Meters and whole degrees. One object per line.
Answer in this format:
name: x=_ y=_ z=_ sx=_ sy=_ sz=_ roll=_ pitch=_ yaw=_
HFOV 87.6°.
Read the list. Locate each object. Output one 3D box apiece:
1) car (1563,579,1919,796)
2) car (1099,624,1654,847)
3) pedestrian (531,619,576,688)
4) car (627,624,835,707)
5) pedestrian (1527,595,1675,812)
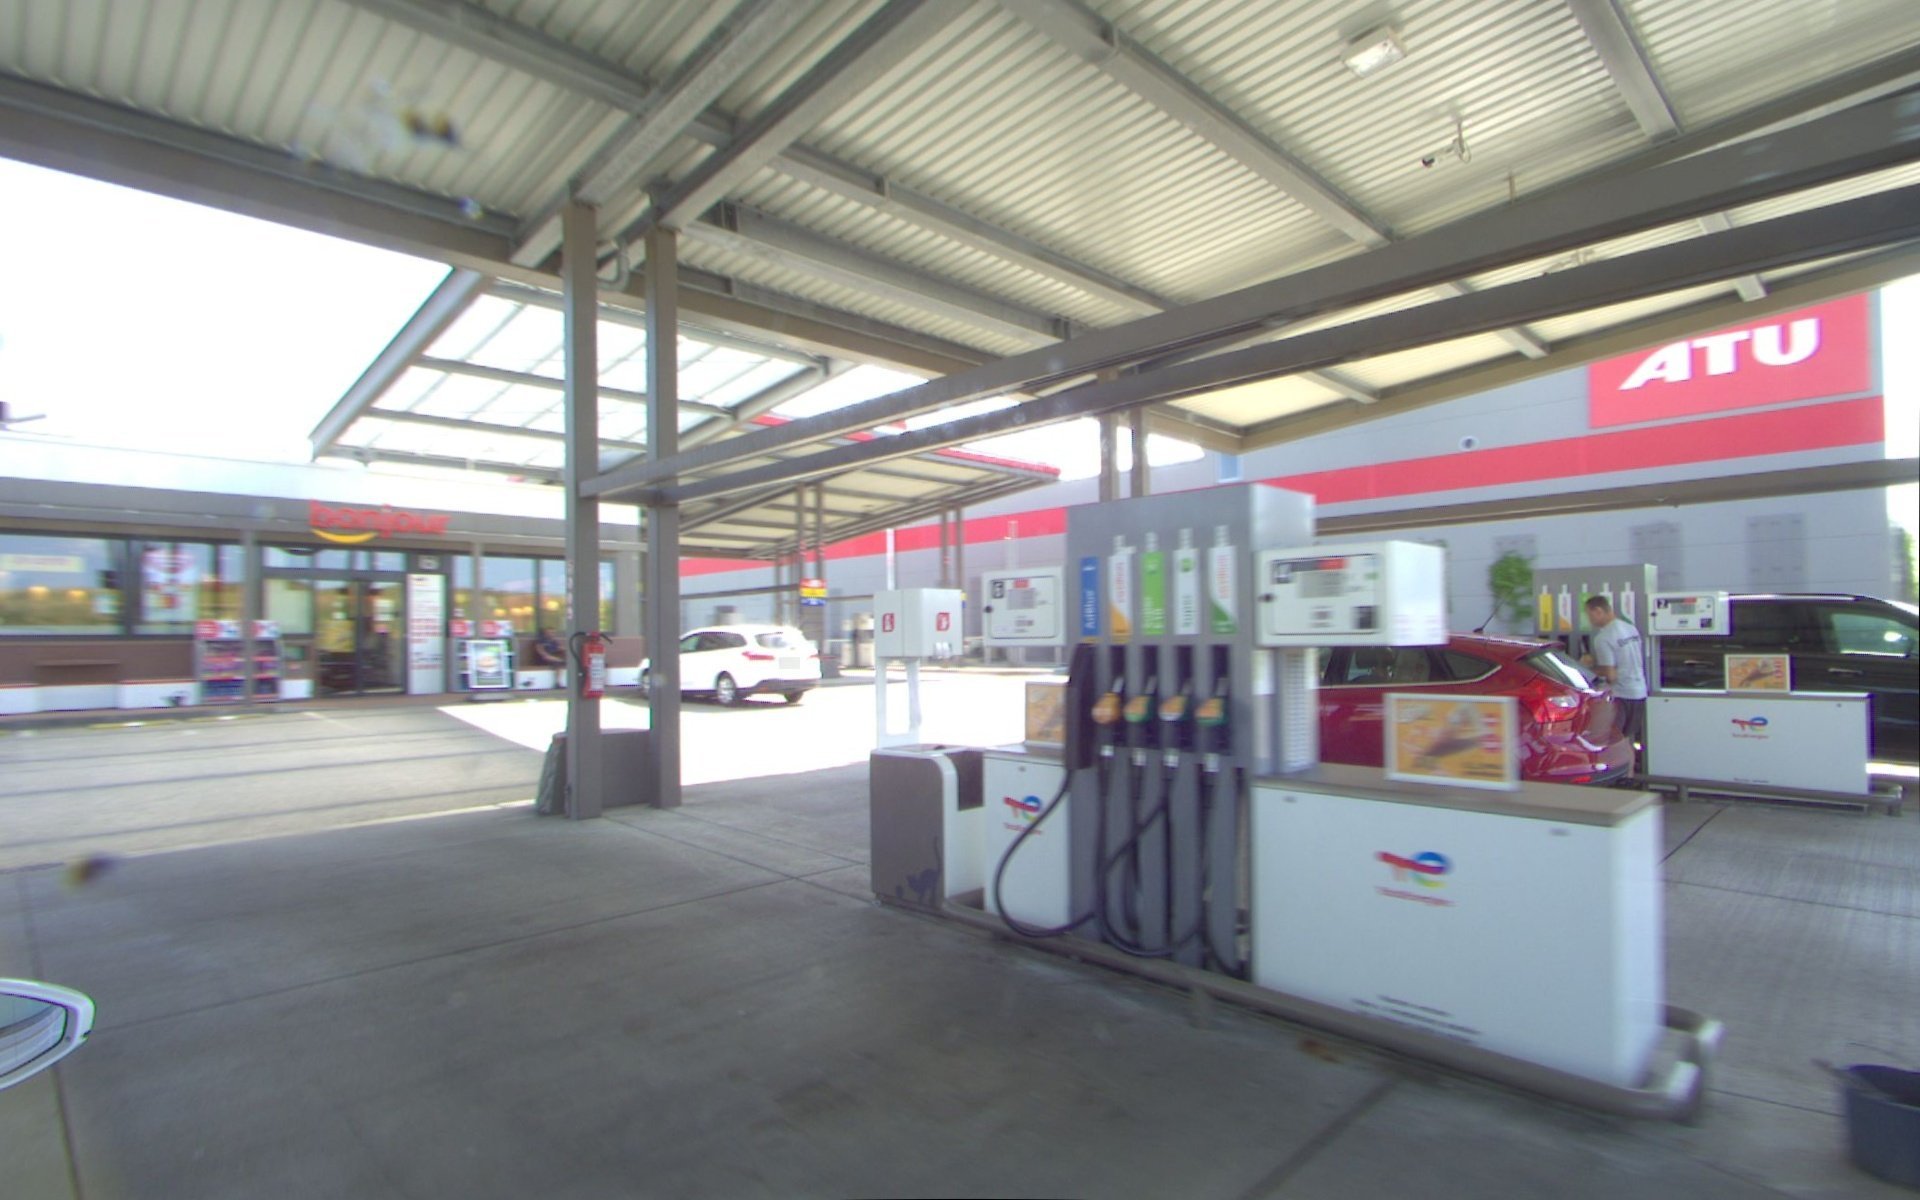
car: x=8.766 y=0.773 z=9.632 sx=2.015 sy=1.875 sz=4.750 roll=0 pitch=-1 yaw=-44
car: x=3.406 y=0.966 z=8.791 sx=1.688 sy=1.487 sz=4.191 roll=1 pitch=-2 yaw=-45
pedestrian: x=-8.750 y=1.138 z=21.546 sx=0.666 sy=1.450 sz=0.697 roll=-1 pitch=-1 yaw=44
car: x=-4.609 y=1.226 z=19.870 sx=4.269 sy=1.475 sz=1.822 roll=-1 pitch=-2 yaw=40
pedestrian: x=5.448 y=0.837 z=8.522 sx=0.696 sy=1.724 sz=0.919 roll=0 pitch=-1 yaw=-44
